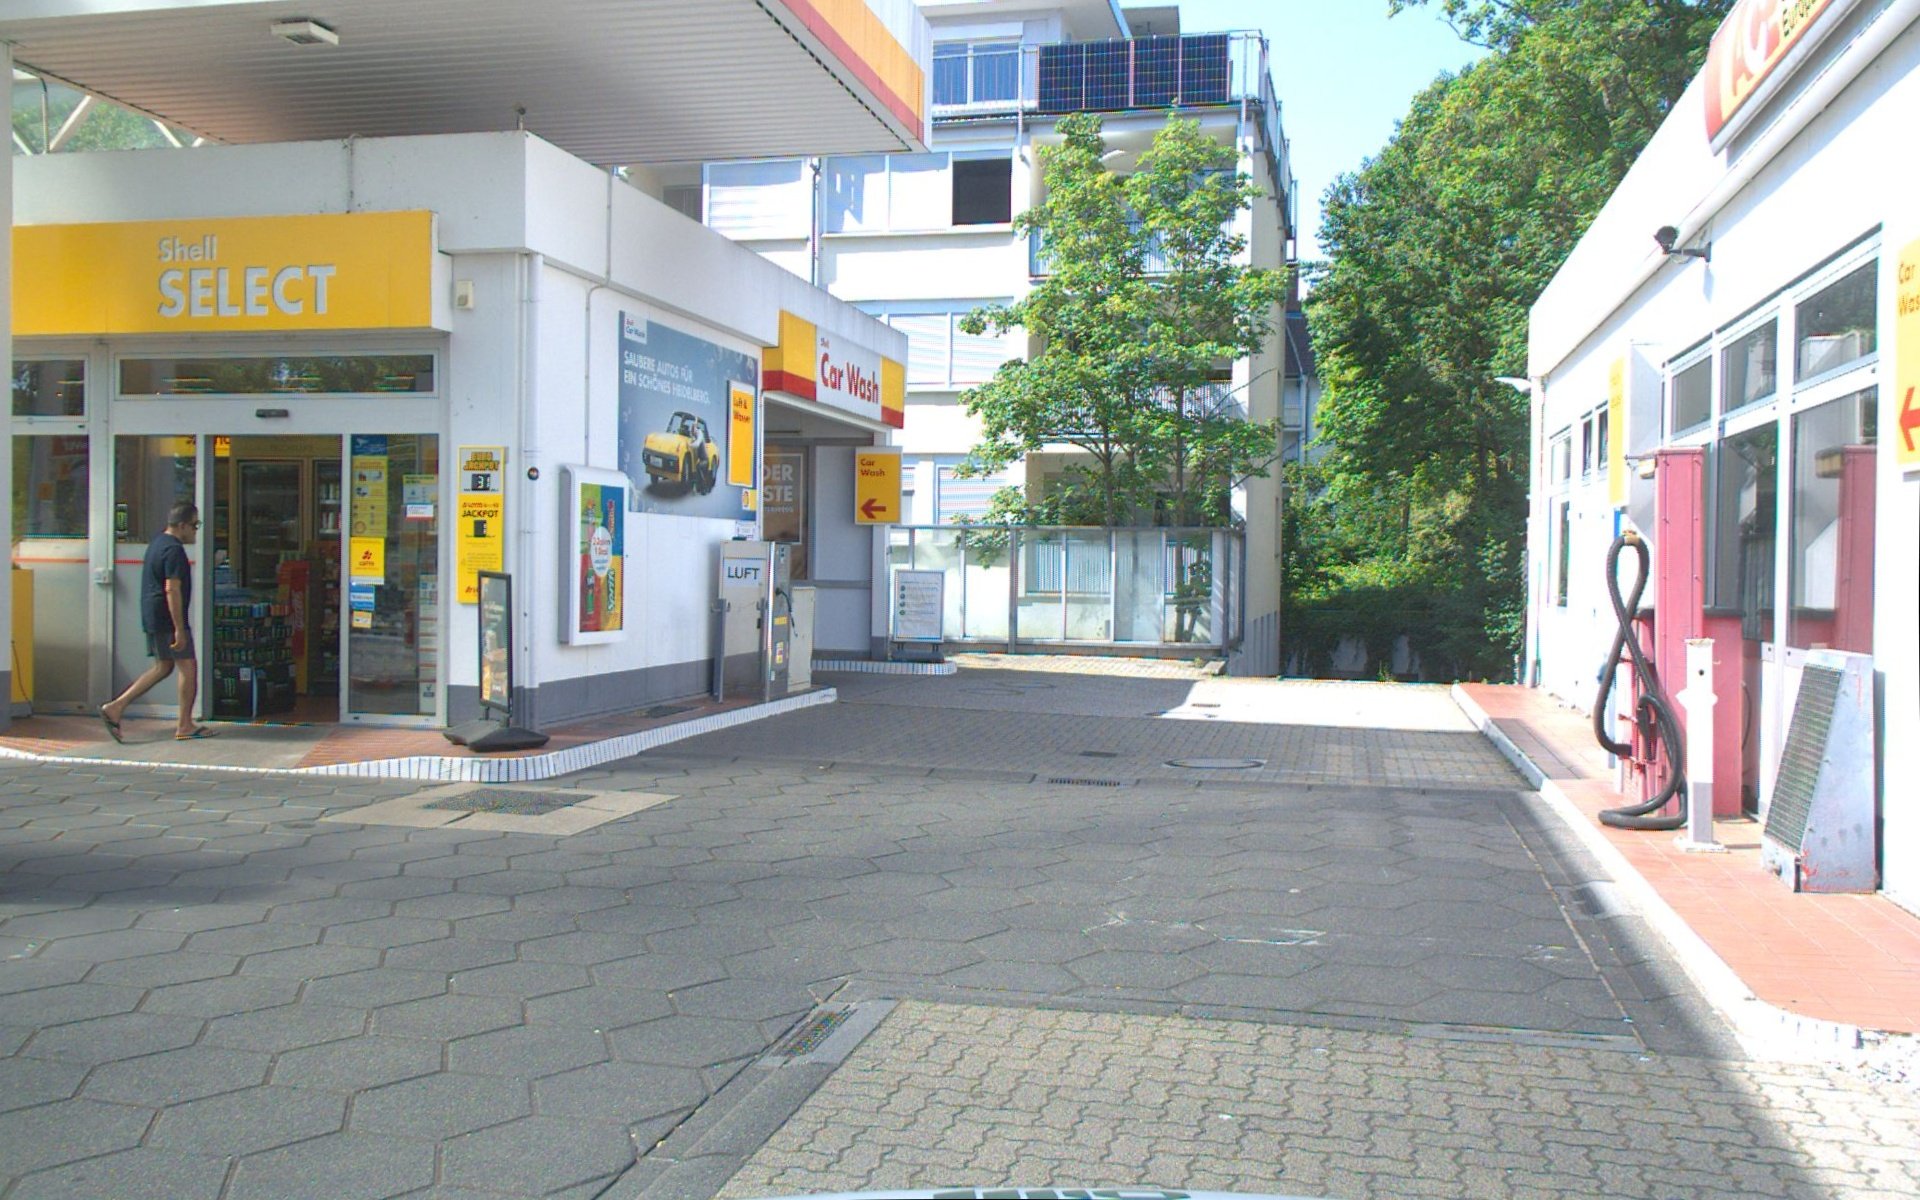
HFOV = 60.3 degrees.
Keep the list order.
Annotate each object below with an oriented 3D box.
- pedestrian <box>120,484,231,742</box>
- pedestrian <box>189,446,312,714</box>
[{"bbox_3d":[-5.586,0.090,11.801,0.561,1.792,0.529,1,1,-7],"label":"pedestrian"},{"bbox_3d":[-5.582,-0.160,13.032,0.608,2.048,0.743,1,1,4],"label":"pedestrian"}]
